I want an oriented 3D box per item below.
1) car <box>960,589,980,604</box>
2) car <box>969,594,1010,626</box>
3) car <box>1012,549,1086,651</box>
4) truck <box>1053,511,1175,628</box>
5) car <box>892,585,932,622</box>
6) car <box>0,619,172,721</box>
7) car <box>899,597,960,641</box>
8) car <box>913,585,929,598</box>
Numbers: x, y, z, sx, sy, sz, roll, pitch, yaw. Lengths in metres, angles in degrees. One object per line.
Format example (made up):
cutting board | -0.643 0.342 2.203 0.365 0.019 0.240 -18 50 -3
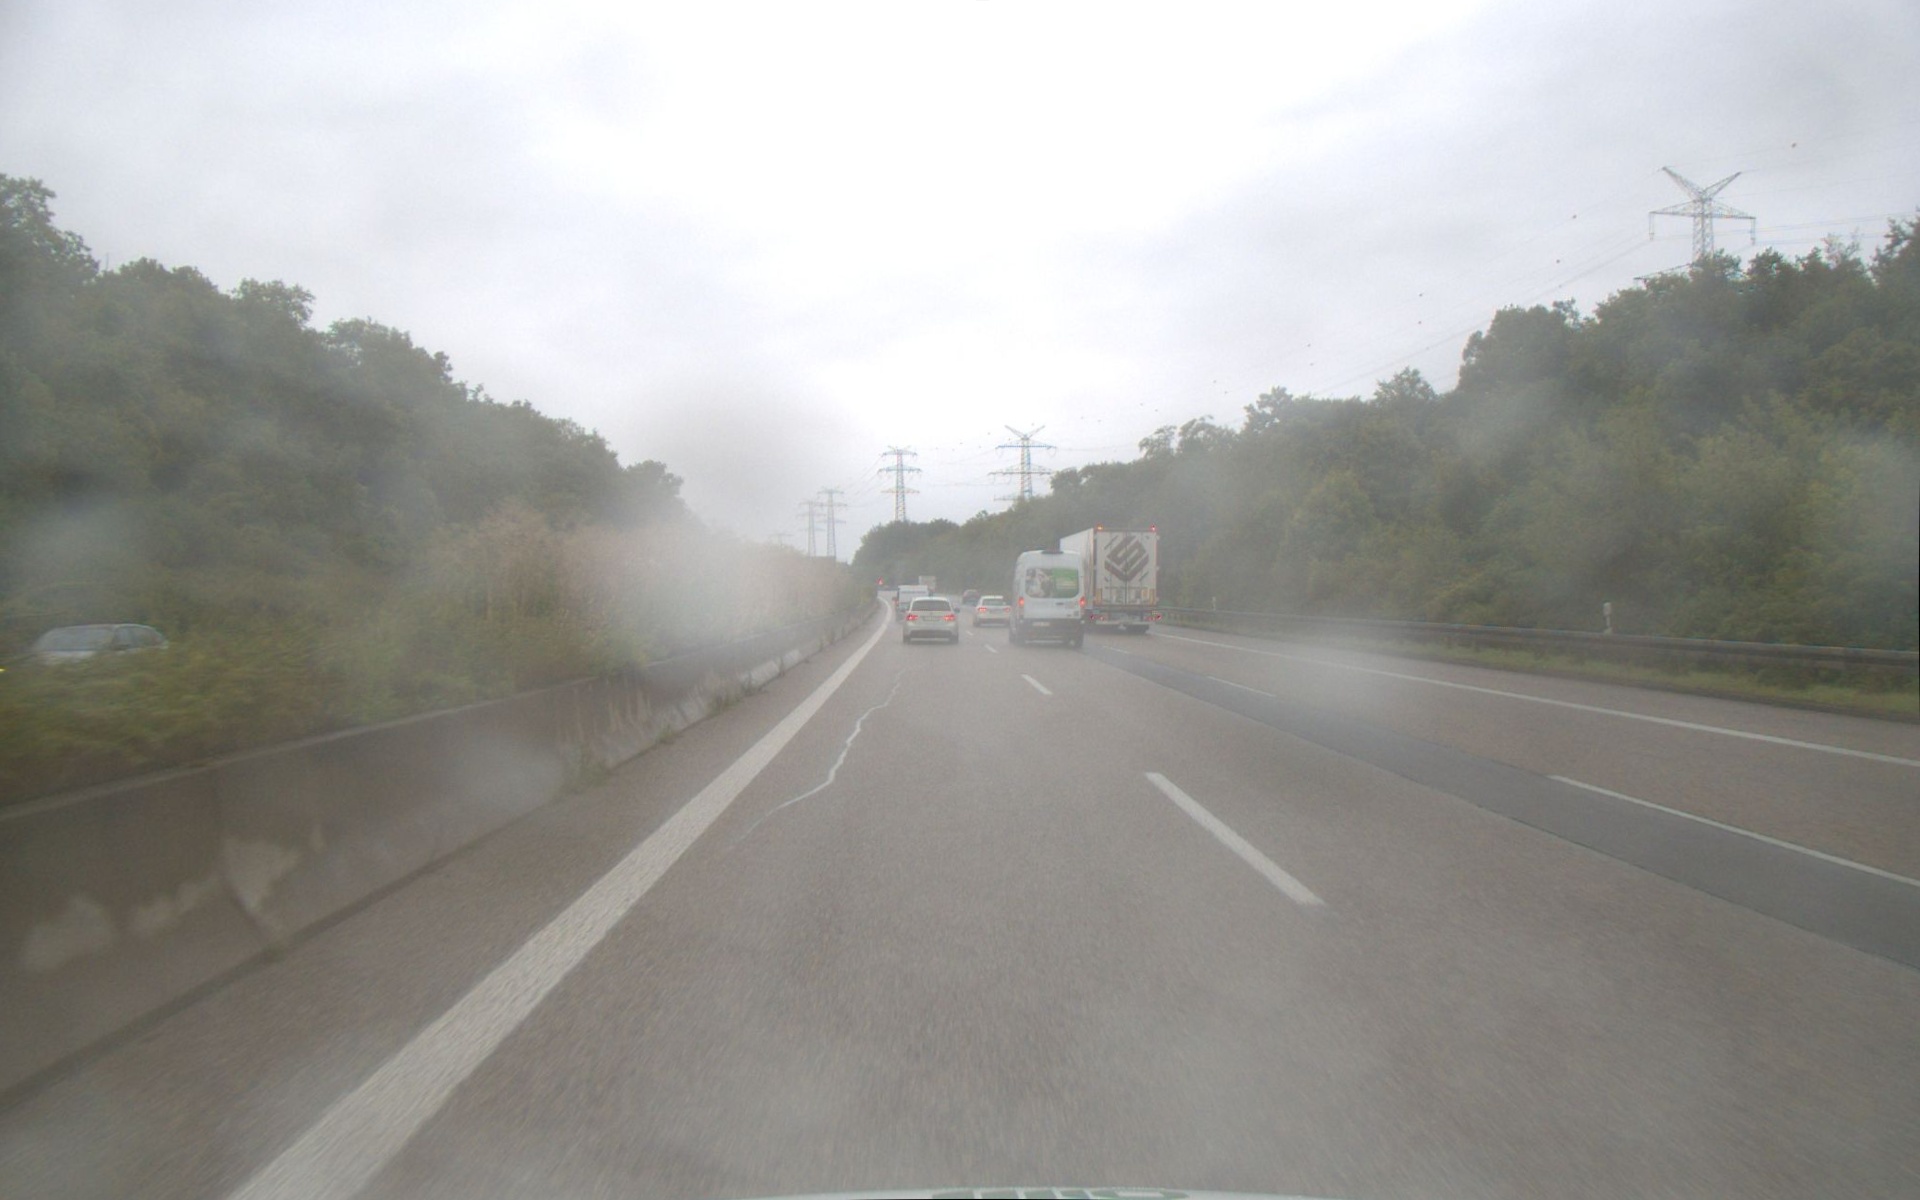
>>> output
car | 1.056 -0.370 175.535 1.953 1.512 4.000 -3 0 0
car | 1.381 0.442 76.347 1.818 1.447 4.001 0 0 1
car | 2.612 -0.009 49.428 1.953 2.914 4.000 -1 0 -1
truck | 6.222 -1.124 69.419 3.530 4.408 13.195 -1 0 -1
car | -2.387 0.175 83.440 1.808 1.803 4.000 -1 0 1
car | -16.253 1.228 30.363 1.608 1.660 4.000 -1 0 0
car | -0.918 0.570 52.123 1.828 1.310 4.000 -1 0 0
car | -5.206 -1.111 219.745 1.952 1.601 4.000 -2 -1 1
